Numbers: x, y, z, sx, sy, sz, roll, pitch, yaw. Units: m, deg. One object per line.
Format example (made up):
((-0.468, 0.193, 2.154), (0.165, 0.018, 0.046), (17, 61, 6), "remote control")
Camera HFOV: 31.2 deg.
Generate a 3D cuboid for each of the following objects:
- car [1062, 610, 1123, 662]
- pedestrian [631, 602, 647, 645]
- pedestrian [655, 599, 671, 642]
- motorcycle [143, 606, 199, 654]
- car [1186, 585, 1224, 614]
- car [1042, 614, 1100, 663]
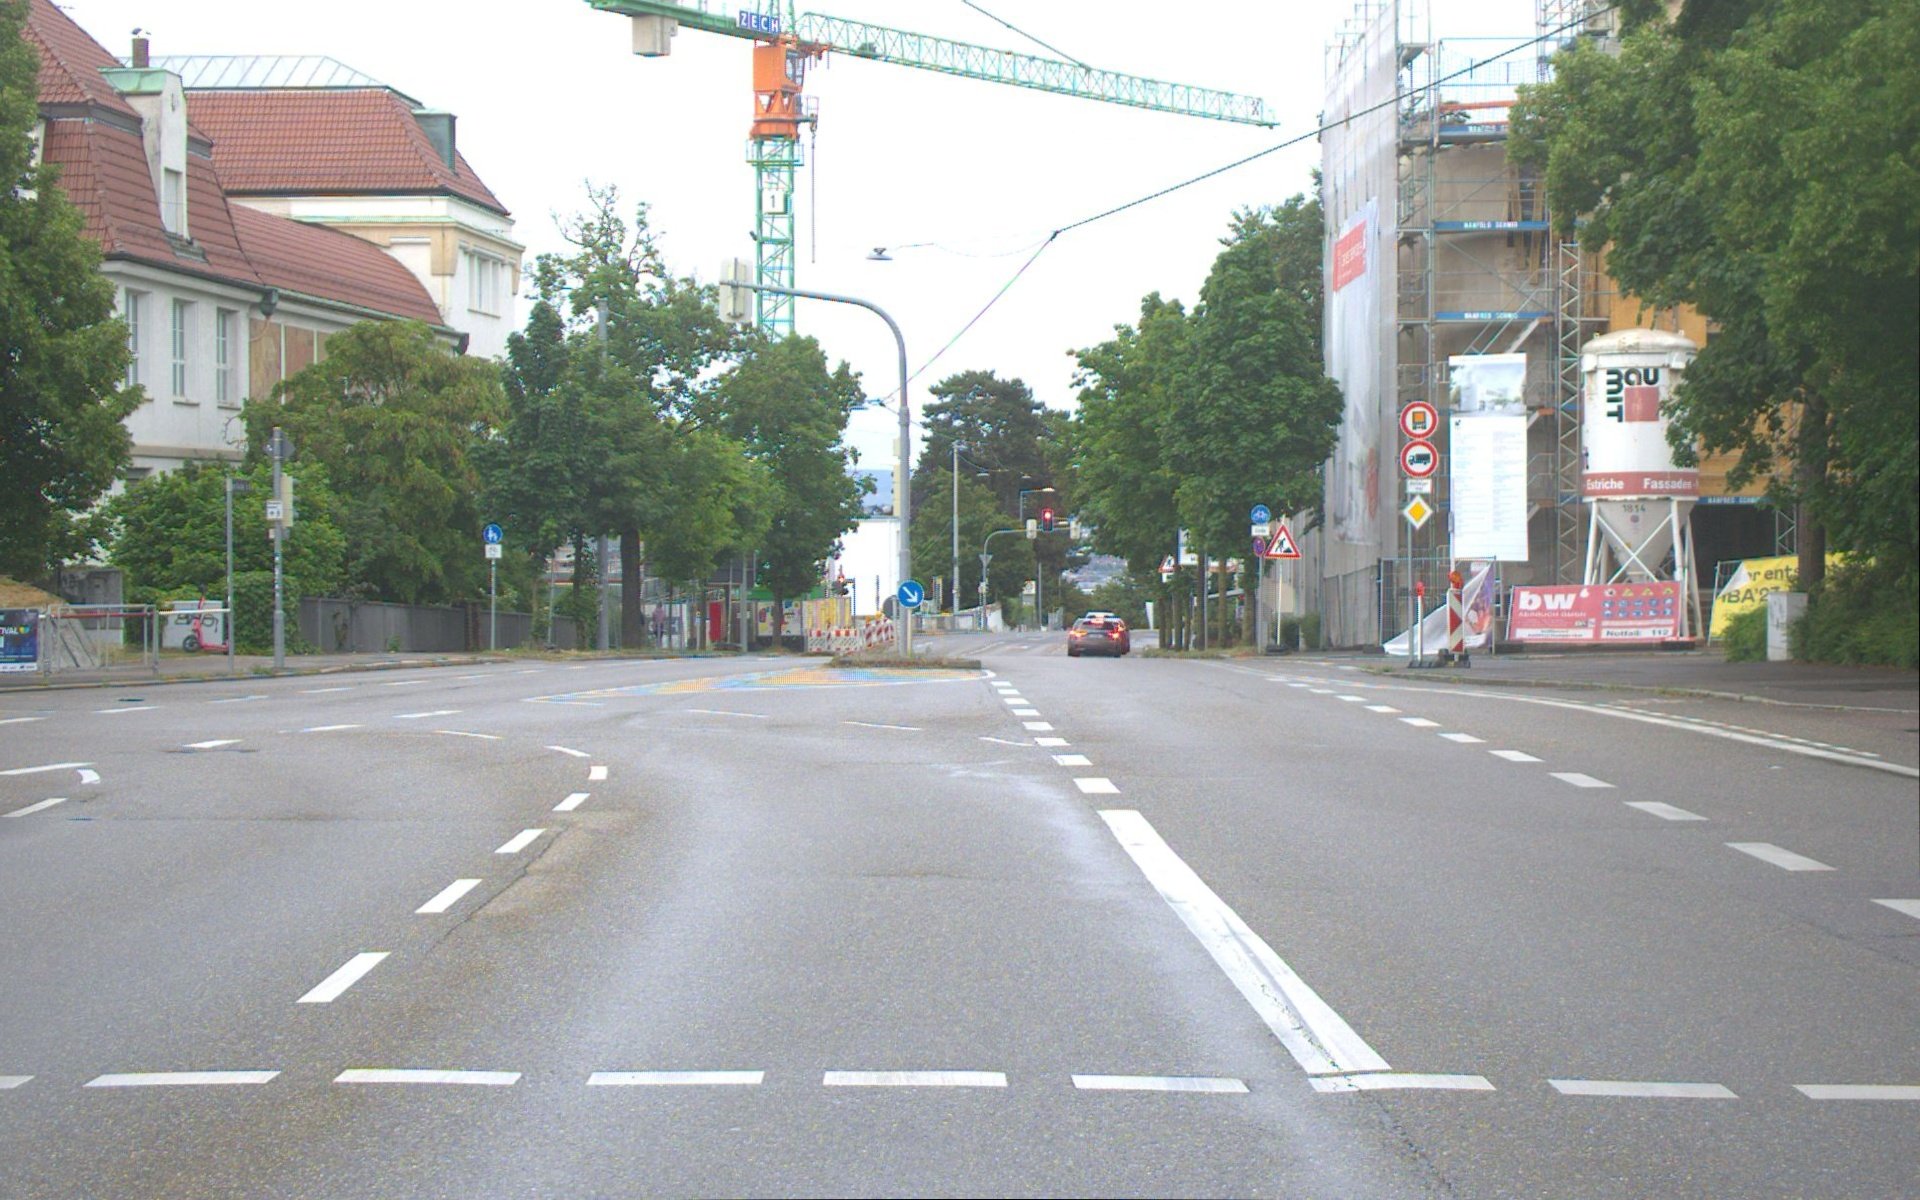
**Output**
((4.796, 1.292, 124.865), (1.993, 1.744, 4.000), (-1, 1, -1), "car")
((-10.551, 0.766, 113.147), (0.474, 1.392, 0.411), (0, 1, -1), "pedestrian")
((-9.755, 0.678, 112.897), (0.474, 1.392, 0.411), (0, 1, -1), "pedestrian")
((-14.878, 0.564, 64.817), (0.849, 0.874, 0.877), (1, 0, -1), "motorcycle")
((15.652, -0.027, 219.351), (1.994, 1.744, 3.998), (-1, 1, 11), "car")
((4.225, 1.443, 131.434), (1.993, 1.744, 4.000), (-1, 1, -1), "car")
